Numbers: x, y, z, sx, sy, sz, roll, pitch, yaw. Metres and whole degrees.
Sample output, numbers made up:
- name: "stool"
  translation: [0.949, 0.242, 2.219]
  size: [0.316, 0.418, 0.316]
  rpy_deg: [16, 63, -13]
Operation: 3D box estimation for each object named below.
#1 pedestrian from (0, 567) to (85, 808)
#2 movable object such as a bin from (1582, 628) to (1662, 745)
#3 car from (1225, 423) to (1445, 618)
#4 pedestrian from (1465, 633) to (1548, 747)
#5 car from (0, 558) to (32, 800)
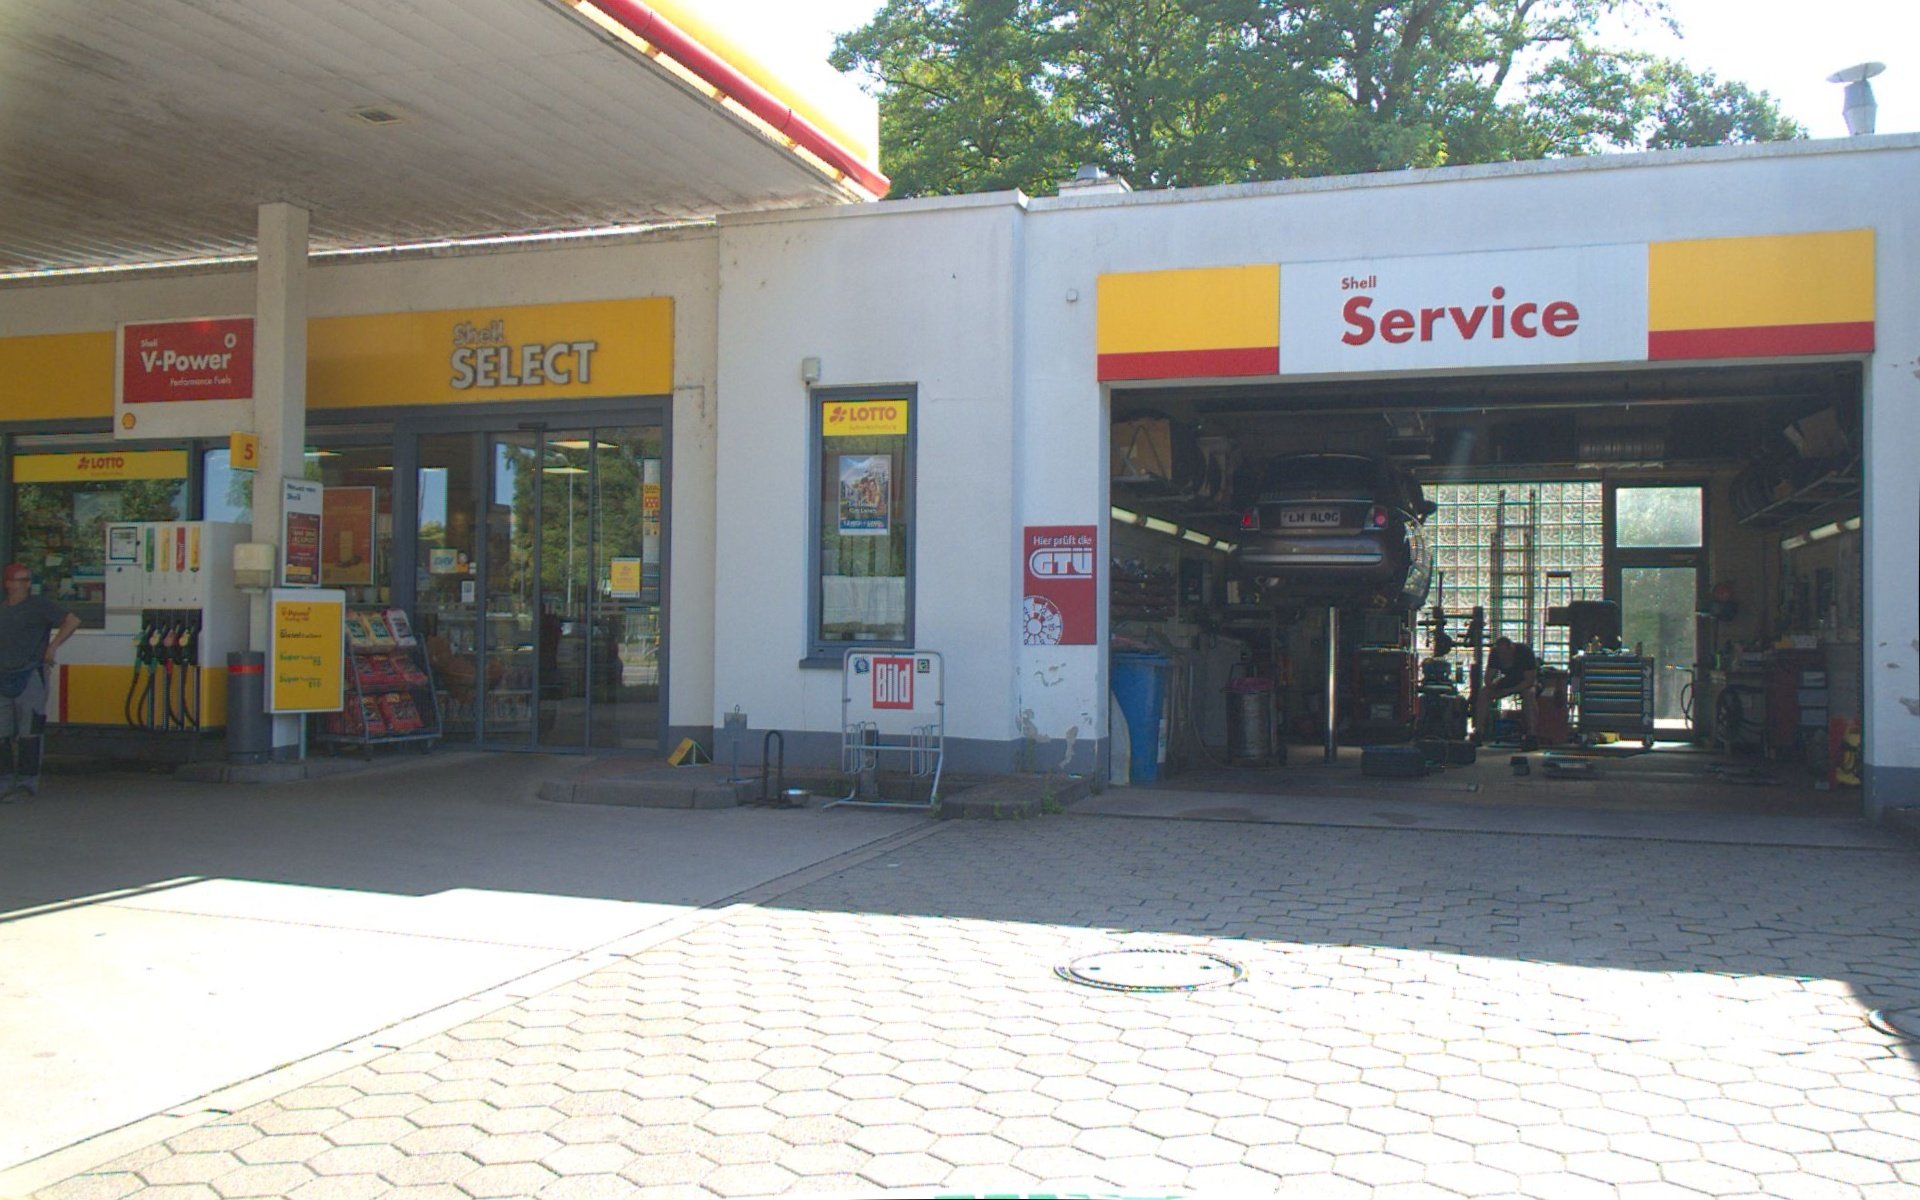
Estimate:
- name: "pedestrian"
  translation: [-6.725, 0.618, 11.962]
  size: [0.489, 1.698, 0.476]
  rpy_deg: [0, -1, 20]
- name: "movable object such as a bin"
  translation: [7.256, 0.941, 18.152]
  size: [0.780, 1.258, 0.544]
  rpy_deg: [-1, -3, 20]
- name: "car"
  translation: [3.813, -0.660, 16.357]
  size: [1.612, 1.512, 4.000]
  rpy_deg: [-1, -3, 20]
- name: "pedestrian"
  translation: [5.992, 0.986, 18.164]
  size: [0.845, 1.219, 0.743]
  rpy_deg: [0, -3, 17]
- name: "car"
  translation: [-9.011, 0.581, 12.113]
  size: [3.906, 1.758, 1.833]
  rpy_deg: [-1, -1, 22]
